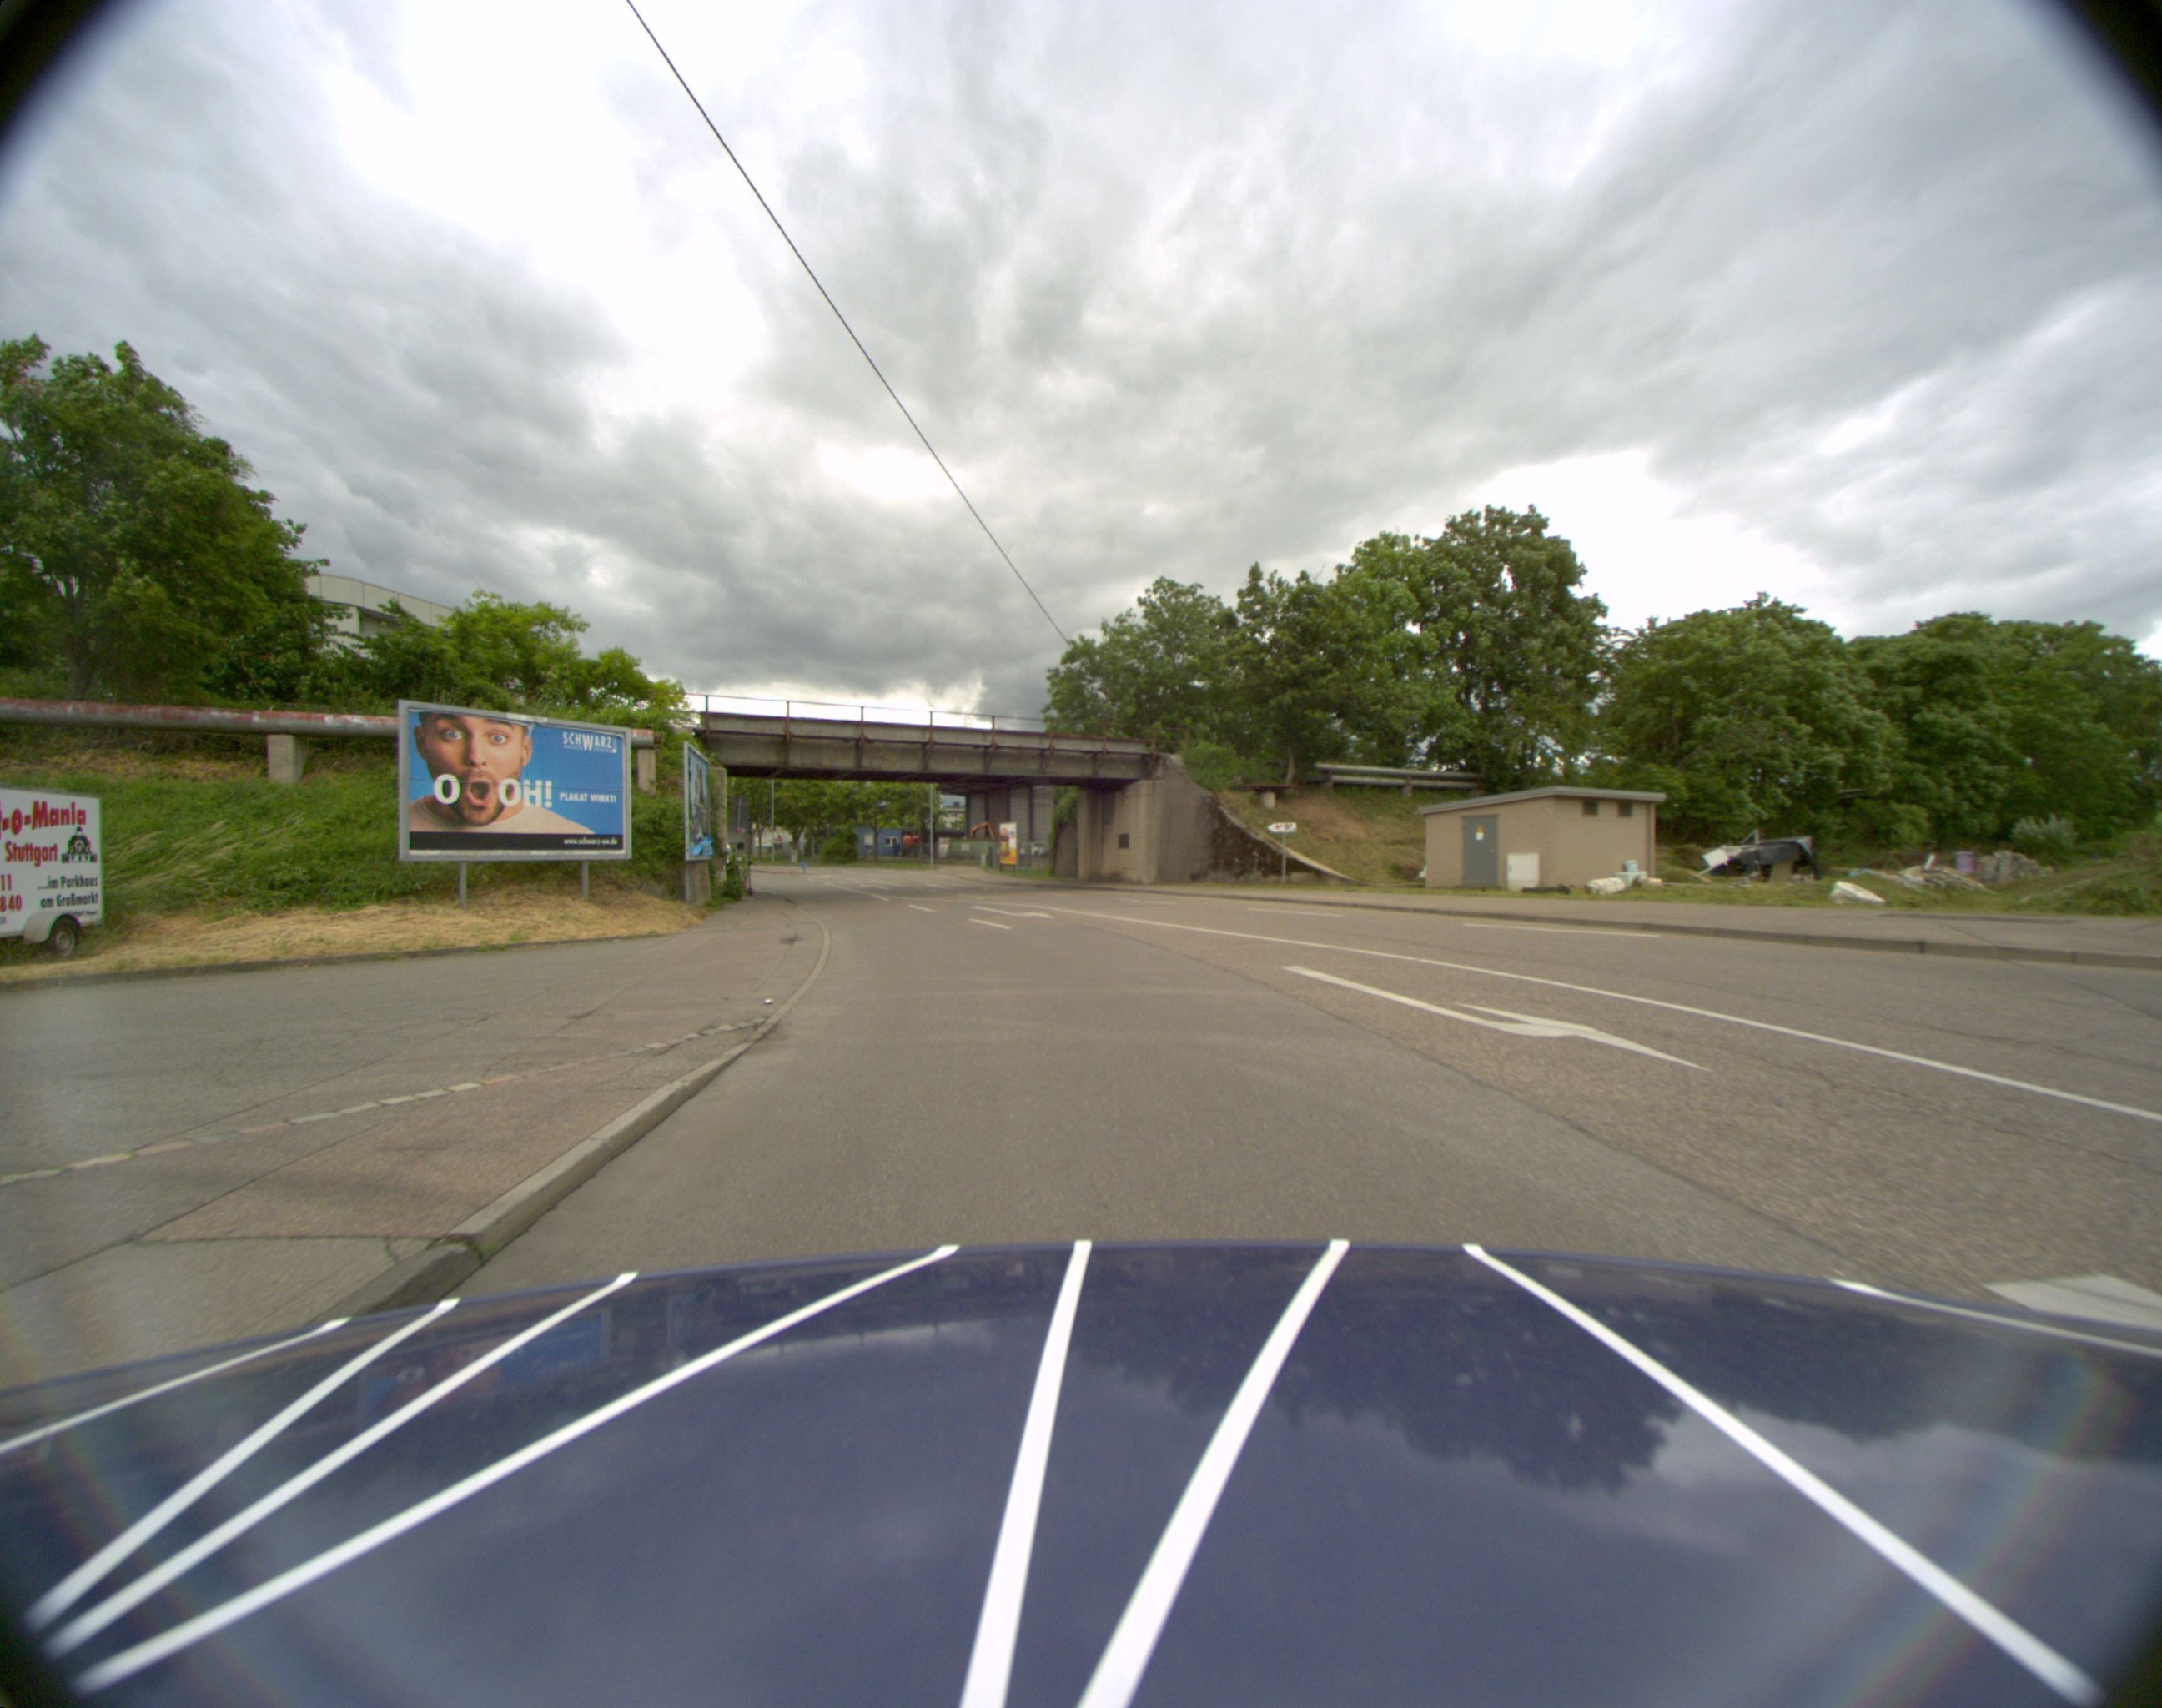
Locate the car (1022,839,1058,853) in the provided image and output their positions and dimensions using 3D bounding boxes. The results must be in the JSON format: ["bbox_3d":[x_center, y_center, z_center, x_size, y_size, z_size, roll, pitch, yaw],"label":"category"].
[{"bbox_3d":[-4.219,-0.835,77.508,1.741,1.366,3.989,-1,1,-35],"label":"car"}]

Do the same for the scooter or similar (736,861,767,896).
[{"bbox_3d":[-12.126,0.893,27.978,0.507,1.228,1.665,4,-1,-41],"label":"scooter or similar"}]

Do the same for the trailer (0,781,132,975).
[{"bbox_3d":[-14.244,0.305,9.195,1.813,2.384,4.404,-1,1,-29],"label":"trailer"}]

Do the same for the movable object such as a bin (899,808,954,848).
[{"bbox_3d":[-16.419,-2.662,80.355,2.740,4.067,6.533,0,0,-42],"label":"movable object such as a bin"}]
